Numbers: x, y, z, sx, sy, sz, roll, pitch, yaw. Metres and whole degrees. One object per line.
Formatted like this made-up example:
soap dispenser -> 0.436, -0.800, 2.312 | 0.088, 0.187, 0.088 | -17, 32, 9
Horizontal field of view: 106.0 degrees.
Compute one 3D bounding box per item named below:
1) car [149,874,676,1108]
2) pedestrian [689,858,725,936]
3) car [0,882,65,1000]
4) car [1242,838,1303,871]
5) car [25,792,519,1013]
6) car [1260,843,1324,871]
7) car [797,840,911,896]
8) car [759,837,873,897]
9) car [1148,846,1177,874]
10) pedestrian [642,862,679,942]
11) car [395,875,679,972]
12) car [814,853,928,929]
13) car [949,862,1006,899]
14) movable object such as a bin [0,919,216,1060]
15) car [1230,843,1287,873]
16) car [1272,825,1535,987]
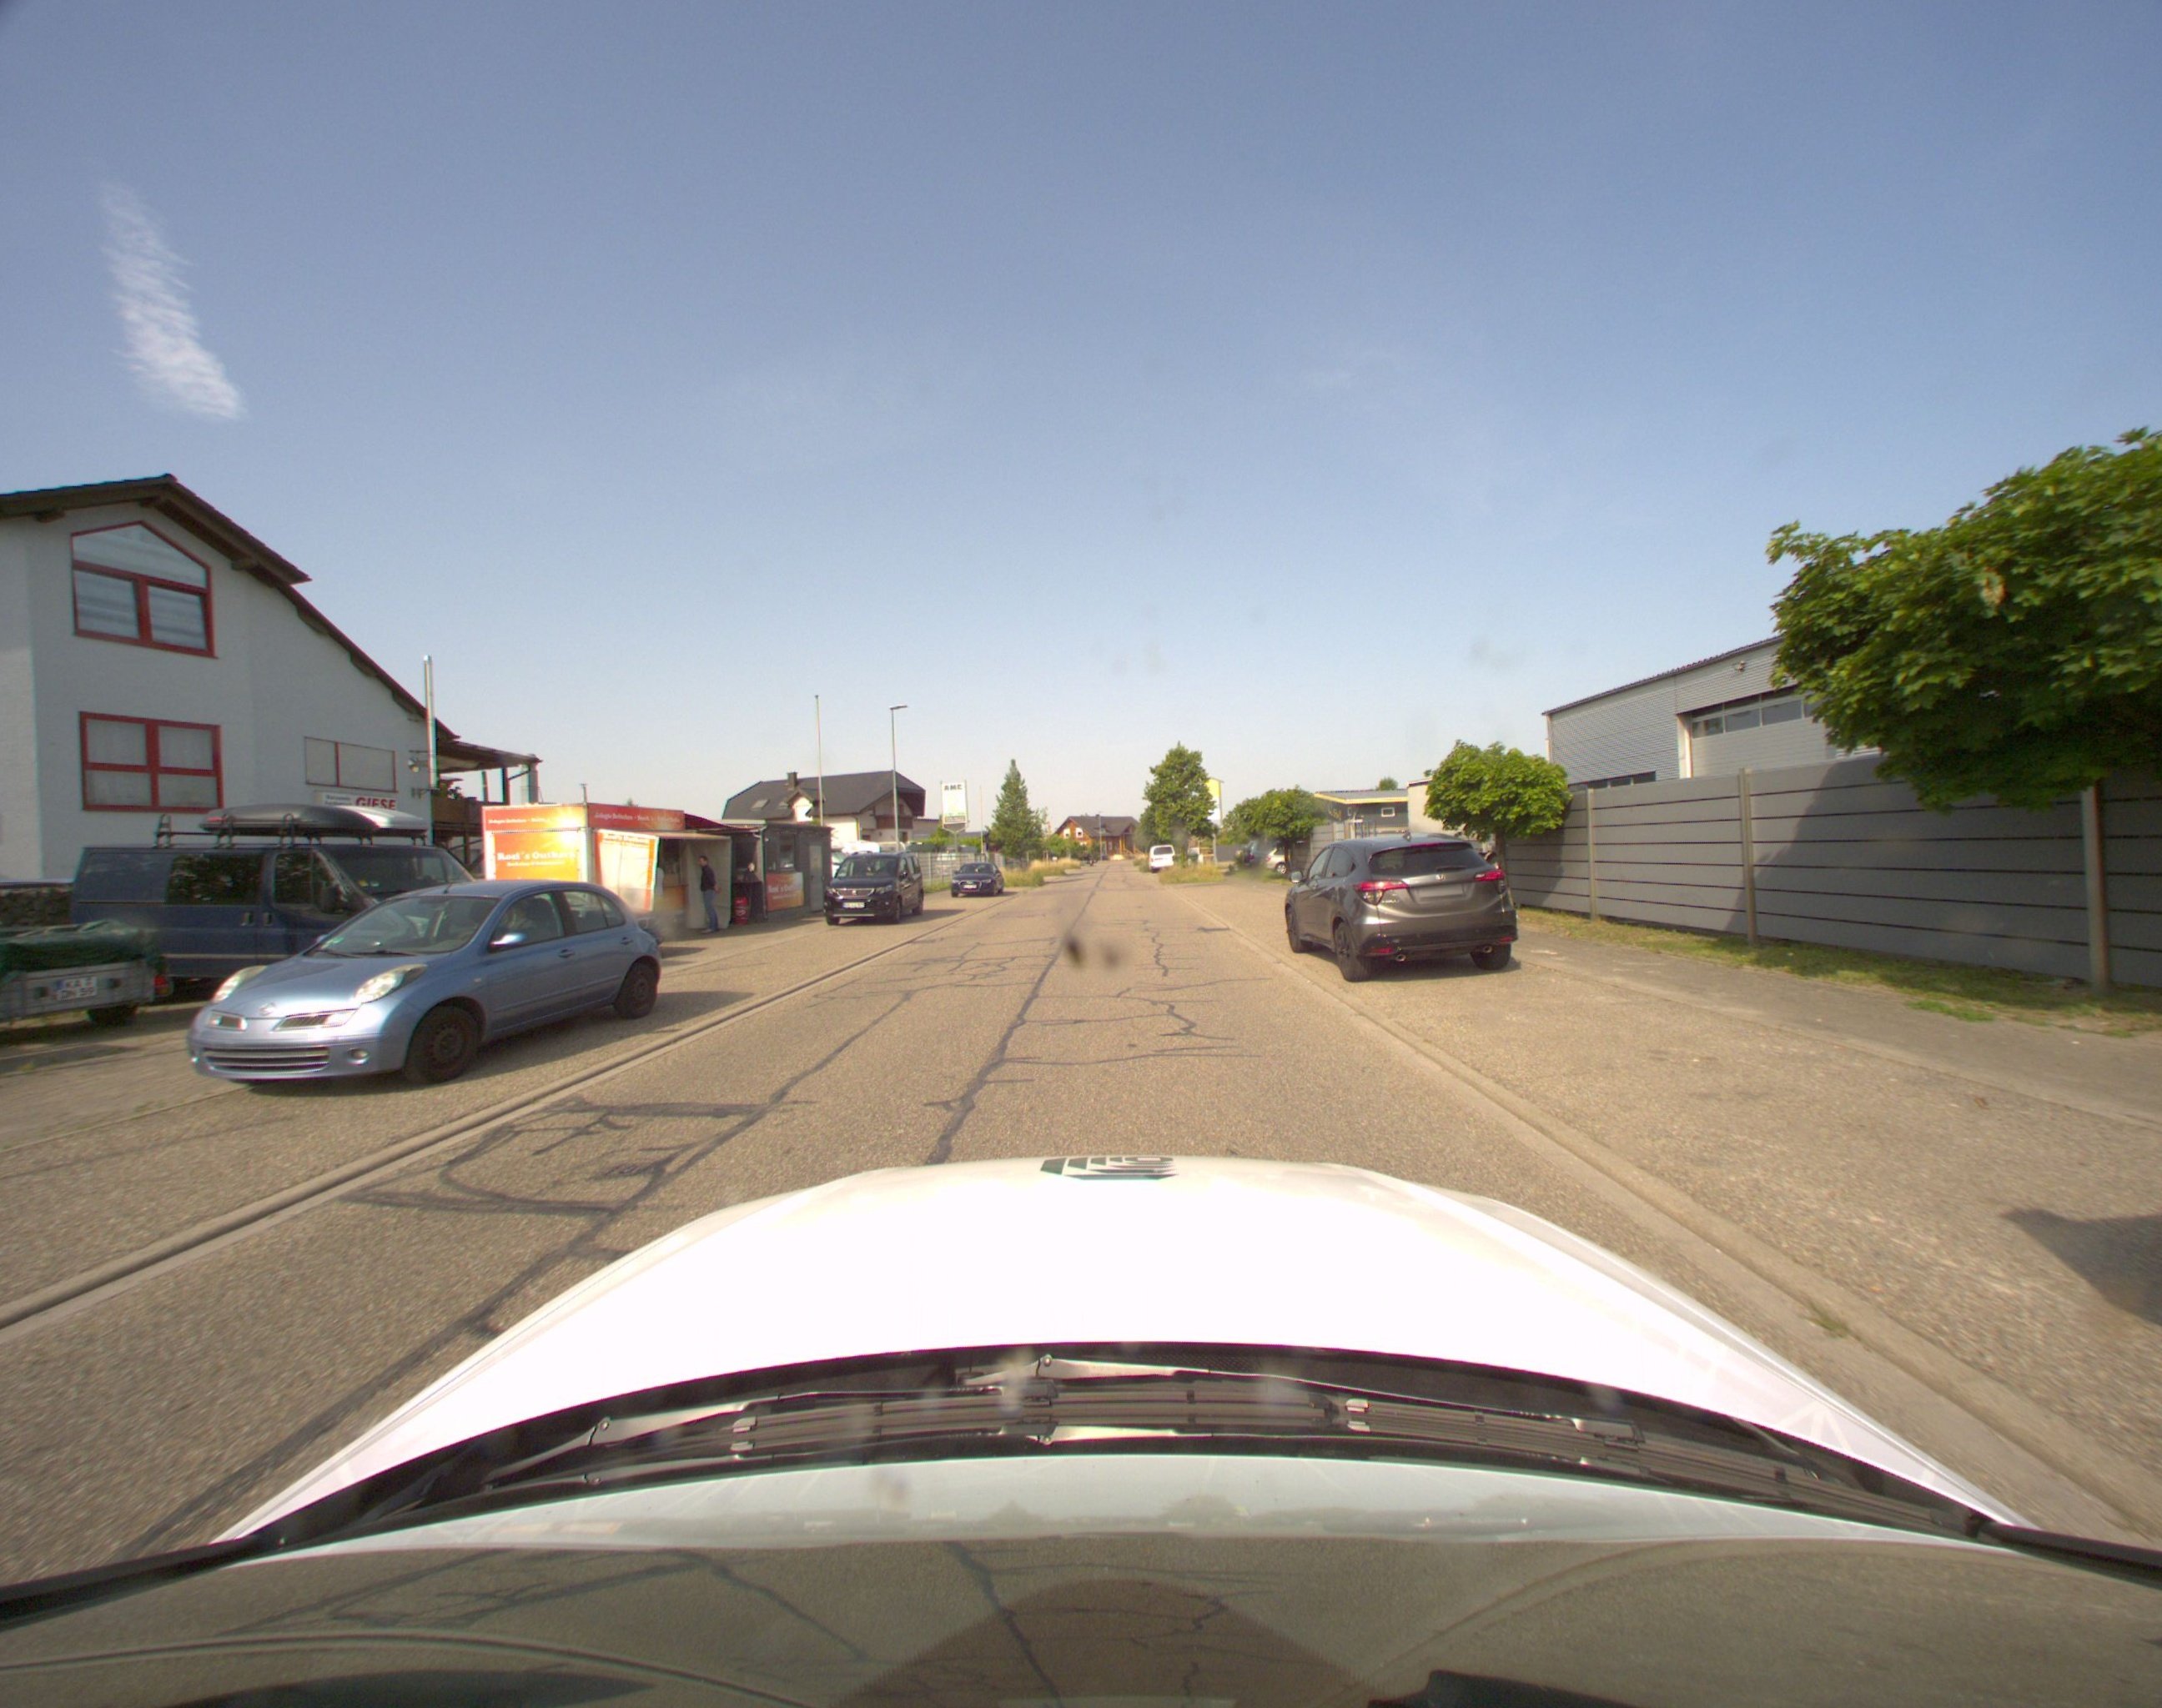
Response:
car -> -5.551, 0.997, 7.443 | 1.625, 1.517, 3.610 | -1, 0, 5
pedestrian -> -8.485, 0.969, 18.467 | 0.566, 1.715, 0.528 | -3, 0, -36
car -> -16.221, 1.292, 10.564 | 1.539, 1.662, 3.478 | -3, 0, 4
car -> 10.564, 0.017, 45.115 | 3.123, 1.580, 1.396 | -4, 0, 10
car -> -10.466, 0.602, 10.793 | 4.606, 2.416, 2.002 | -3, 0, 4
car -> 11.011, 0.132, 42.696 | 3.123, 1.266, 1.396 | -4, 0, 10
car -> -11.871, 0.716, 42.674 | 5.111, 2.586, 2.591 | -4, 0, 23
car -> -12.723, 0.615, 39.112 | 4.760, 2.586, 2.157 | -4, 0, 23
car -> 5.984, 0.412, 60.234 | 1.830, 1.924, 3.758 | -4, 0, 3
pedestrian -> -9.190, 1.031, 17.797 | 0.406, 1.687, 0.541 | -4, 0, 6
car -> -9.069, 1.130, 13.829 | 3.577, 1.414, 1.761 | -1, 0, -2
car -> -5.410, 0.882, 21.540 | 1.793, 1.774, 4.204 | -1, 0, 2
car -> -4.313, 1.067, 34.313 | 1.793, 1.386, 3.639 | -1, 0, 2
movable object such as a bin -> -11.398, 1.341, 8.458 | 3.302, 1.147, 1.767 | -1, 0, 11
car -> 10.261, 0.235, 47.176 | 3.123, 1.521, 1.396 | -3, 0, 10
car -> 3.780, 0.533, 10.377 | 1.788, 1.560, 4.001 | -3, 0, 1
